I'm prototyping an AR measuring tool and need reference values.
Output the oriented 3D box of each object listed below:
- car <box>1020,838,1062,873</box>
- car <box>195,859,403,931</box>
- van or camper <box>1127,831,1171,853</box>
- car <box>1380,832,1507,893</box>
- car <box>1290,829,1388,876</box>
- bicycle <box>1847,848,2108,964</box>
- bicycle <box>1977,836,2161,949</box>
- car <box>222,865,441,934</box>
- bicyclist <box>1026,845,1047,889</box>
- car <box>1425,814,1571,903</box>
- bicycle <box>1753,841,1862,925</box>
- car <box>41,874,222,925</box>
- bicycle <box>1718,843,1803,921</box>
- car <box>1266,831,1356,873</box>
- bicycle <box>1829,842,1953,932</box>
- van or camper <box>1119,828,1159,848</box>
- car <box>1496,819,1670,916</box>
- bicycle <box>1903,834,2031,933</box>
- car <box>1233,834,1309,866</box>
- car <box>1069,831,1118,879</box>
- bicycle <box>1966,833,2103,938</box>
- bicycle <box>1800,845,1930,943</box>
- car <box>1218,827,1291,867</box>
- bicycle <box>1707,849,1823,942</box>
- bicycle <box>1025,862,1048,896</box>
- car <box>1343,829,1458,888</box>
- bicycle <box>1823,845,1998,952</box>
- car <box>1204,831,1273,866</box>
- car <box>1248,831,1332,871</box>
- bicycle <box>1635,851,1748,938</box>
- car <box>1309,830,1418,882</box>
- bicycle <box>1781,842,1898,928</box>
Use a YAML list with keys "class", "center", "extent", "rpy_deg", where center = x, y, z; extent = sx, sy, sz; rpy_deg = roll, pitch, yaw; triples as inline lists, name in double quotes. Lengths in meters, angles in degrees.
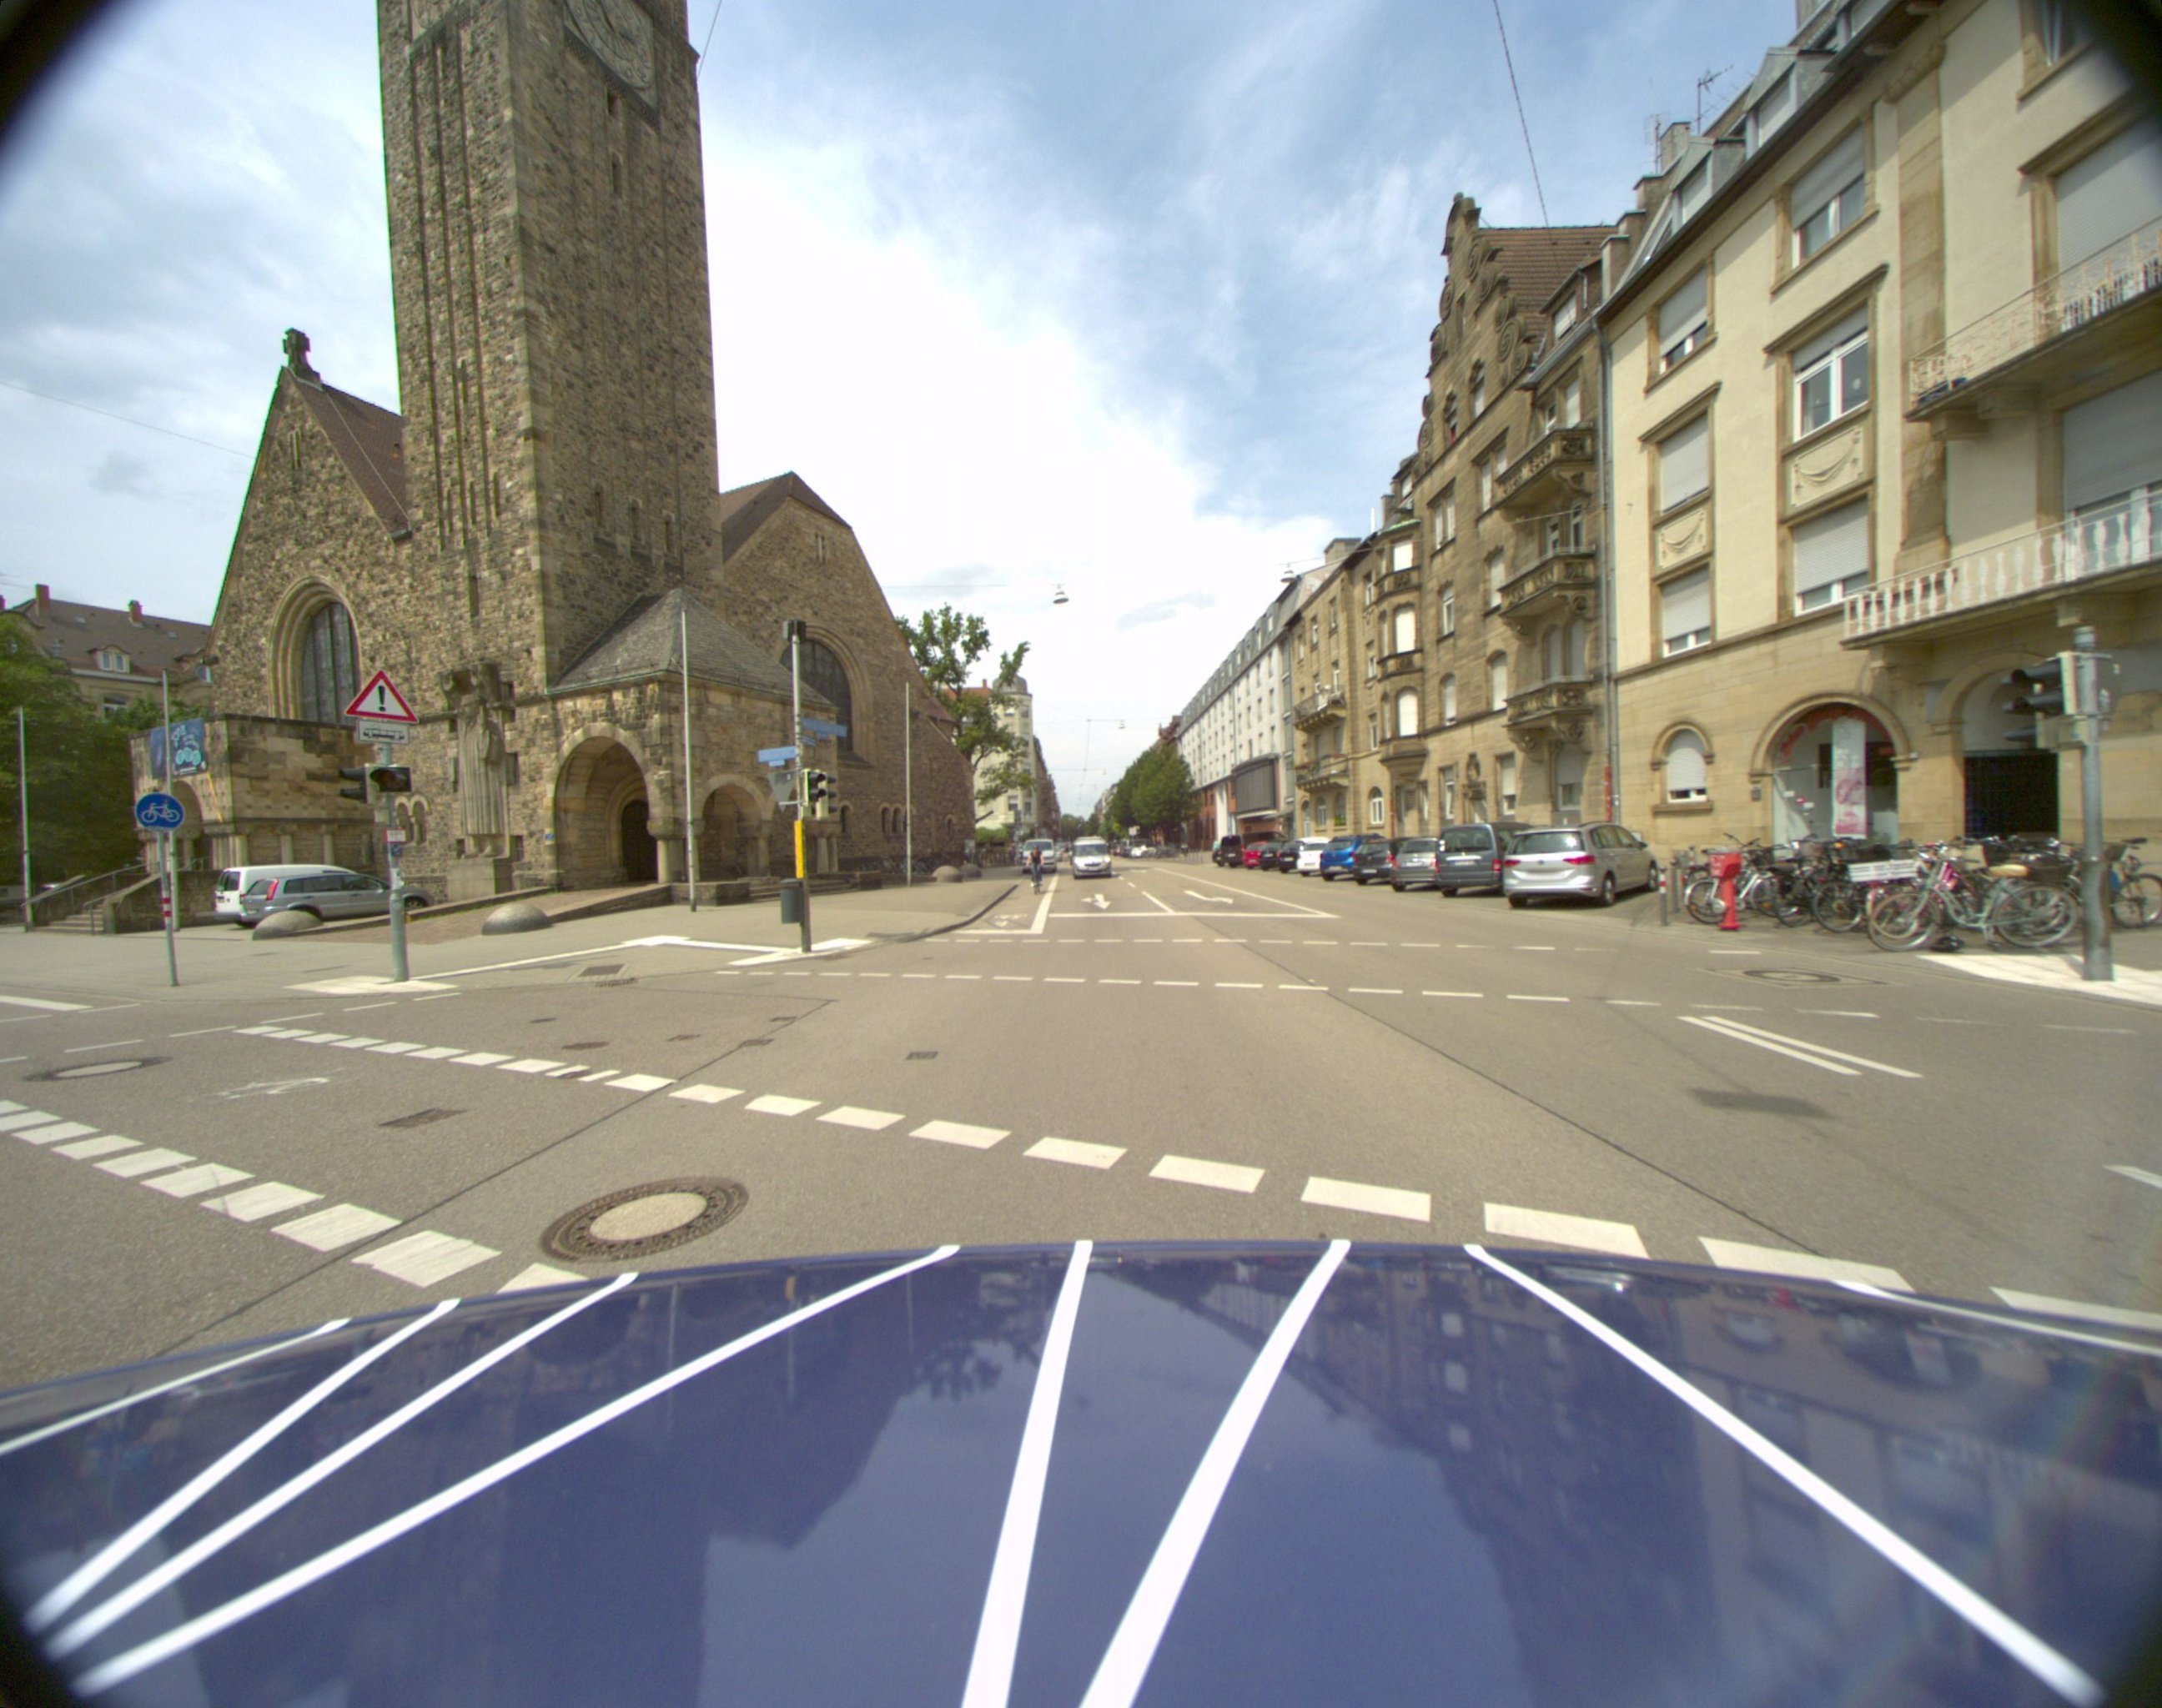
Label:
- class: "car"
  center: [-2.285, 0.027, 44.520]
  extent: [2.082, 1.852, 4.679]
  rpy_deg: [-2, 1, 1]
- class: "car"
  center: [-24.100, 1.198, 23.609]
  extent: [1.995, 1.871, 3.960]
  rpy_deg: [-1, 1, 24]
- class: "van or camper"
  center: [6.692, -1.217, 75.005]
  extent: [3.998, 2.002, 1.999]
  rpy_deg: [-2, 1, -3]
- class: "car"
  center: [10.386, 0.191, 21.653]
  extent: [3.835, 1.526, 1.754]
  rpy_deg: [-3, 1, -39]
- class: "car"
  center: [10.626, -0.079, 31.192]
  extent: [3.833, 1.526, 1.755]
  rpy_deg: [-6, 0, -35]
- class: "bicycle"
  center: [9.872, 0.588, 8.443]
  extent: [1.873, 1.185, 0.456]
  rpy_deg: [-3, 1, 19]
- class: "bicycle"
  center: [11.791, 0.442, 9.013]
  extent: [1.830, 1.185, 0.397]
  rpy_deg: [-4, 1, -1]
- class: "car"
  center: [-21.598, 1.244, 22.106]
  extent: [1.995, 1.641, 4.006]
  rpy_deg: [-1, 1, 24]
- class: "bicyclist"
  center: [-1.557, 0.440, 26.709]
  extent: [0.588, 1.488, 0.839]
  rpy_deg: [-4, 2, 1]
- class: "car"
  center: [10.454, 0.087, 18.961]
  extent: [3.834, 1.808, 1.755]
  rpy_deg: [-6, 0, -39]
- class: "bicycle"
  center: [11.217, 0.439, 11.740]
  extent: [1.345, 1.185, 0.397]
  rpy_deg: [-4, 1, -5]
- class: "car"
  center: [-37.024, 1.724, 29.760]
  extent: [1.995, 1.631, 3.960]
  rpy_deg: [-1, 1, 24]
- class: "bicycle"
  center: [11.104, 0.436, 12.413]
  extent: [1.347, 1.185, 0.397]
  rpy_deg: [-2, 2, -17]
- class: "car"
  center: [10.416, -0.105, 34.333]
  extent: [3.833, 1.526, 1.755]
  rpy_deg: [-6, 0, -35]
- class: "bicycle"
  center: [11.399, 0.453, 10.701]
  extent: [1.345, 1.185, 0.397]
  rpy_deg: [-2, 1, -2]
- class: "van or camper"
  center: [6.356, -1.793, 83.557]
  extent: [4.000, 2.002, 1.998]
  rpy_deg: [-2, 1, -9]
- class: "car"
  center: [10.442, 0.242, 15.697]
  extent: [4.042, 1.580, 1.755]
  rpy_deg: [-6, 0, -39]
- class: "bicycle"
  center: [11.925, 0.386, 10.233]
  extent: [1.345, 1.185, 0.397]
  rpy_deg: [-5, 2, -6]
- class: "car"
  center: [10.007, -0.204, 39.988]
  extent: [3.834, 1.526, 1.755]
  rpy_deg: [-3, 1, -35]
- class: "car"
  center: [0.563, -0.010, 35.757]
  extent: [2.082, 2.039, 4.679]
  rpy_deg: [-2, 1, 1]
- class: "bicycle"
  center: [12.108, 0.384, 9.654]
  extent: [1.345, 1.185, 0.397]
  rpy_deg: [-5, 2, -6]
- class: "bicycle"
  center: [10.479, 0.517, 10.171]
  extent: [1.345, 1.185, 0.397]
  rpy_deg: [-4, 1, -4]
- class: "car"
  center: [9.771, -0.403, 42.677]
  extent: [3.833, 1.882, 1.755]
  rpy_deg: [-6, 0, -35]
- class: "bicycle"
  center: [9.734, 0.574, 10.819]
  extent: [1.345, 1.185, 0.397]
  rpy_deg: [-5, 2, -7]
- class: "bicycle"
  center: [-1.535, 0.850, 26.633]
  extent: [0.598, 1.079, 1.812]
  rpy_deg: [-4, 1, 1]
- class: "car"
  center: [10.514, 0.123, 24.882]
  extent: [3.834, 1.526, 1.755]
  rpy_deg: [-6, 0, -39]
- class: "bicycle"
  center: [10.381, 0.543, 9.524]
  extent: [1.821, 1.185, 0.397]
  rpy_deg: [-4, 1, -4]
- class: "car"
  center: [9.519, -0.343, 45.827]
  extent: [3.833, 1.676, 1.755]
  rpy_deg: [-6, 0, -35]
- class: "car"
  center: [10.235, -0.154, 37.113]
  extent: [3.833, 1.526, 1.755]
  rpy_deg: [-6, 0, -35]
- class: "bicycle"
  center: [9.244, 0.598, 11.527]
  extent: [1.345, 1.185, 0.397]
  rpy_deg: [-5, 1, -2]
- class: "car"
  center: [10.382, 0.067, 27.866]
  extent: [3.833, 1.526, 1.755]
  rpy_deg: [-6, 0, -35]
- class: "bicycle"
  center: [11.200, 0.447, 11.235]
  extent: [1.345, 1.185, 0.397]
  rpy_deg: [-2, 1, -2]
